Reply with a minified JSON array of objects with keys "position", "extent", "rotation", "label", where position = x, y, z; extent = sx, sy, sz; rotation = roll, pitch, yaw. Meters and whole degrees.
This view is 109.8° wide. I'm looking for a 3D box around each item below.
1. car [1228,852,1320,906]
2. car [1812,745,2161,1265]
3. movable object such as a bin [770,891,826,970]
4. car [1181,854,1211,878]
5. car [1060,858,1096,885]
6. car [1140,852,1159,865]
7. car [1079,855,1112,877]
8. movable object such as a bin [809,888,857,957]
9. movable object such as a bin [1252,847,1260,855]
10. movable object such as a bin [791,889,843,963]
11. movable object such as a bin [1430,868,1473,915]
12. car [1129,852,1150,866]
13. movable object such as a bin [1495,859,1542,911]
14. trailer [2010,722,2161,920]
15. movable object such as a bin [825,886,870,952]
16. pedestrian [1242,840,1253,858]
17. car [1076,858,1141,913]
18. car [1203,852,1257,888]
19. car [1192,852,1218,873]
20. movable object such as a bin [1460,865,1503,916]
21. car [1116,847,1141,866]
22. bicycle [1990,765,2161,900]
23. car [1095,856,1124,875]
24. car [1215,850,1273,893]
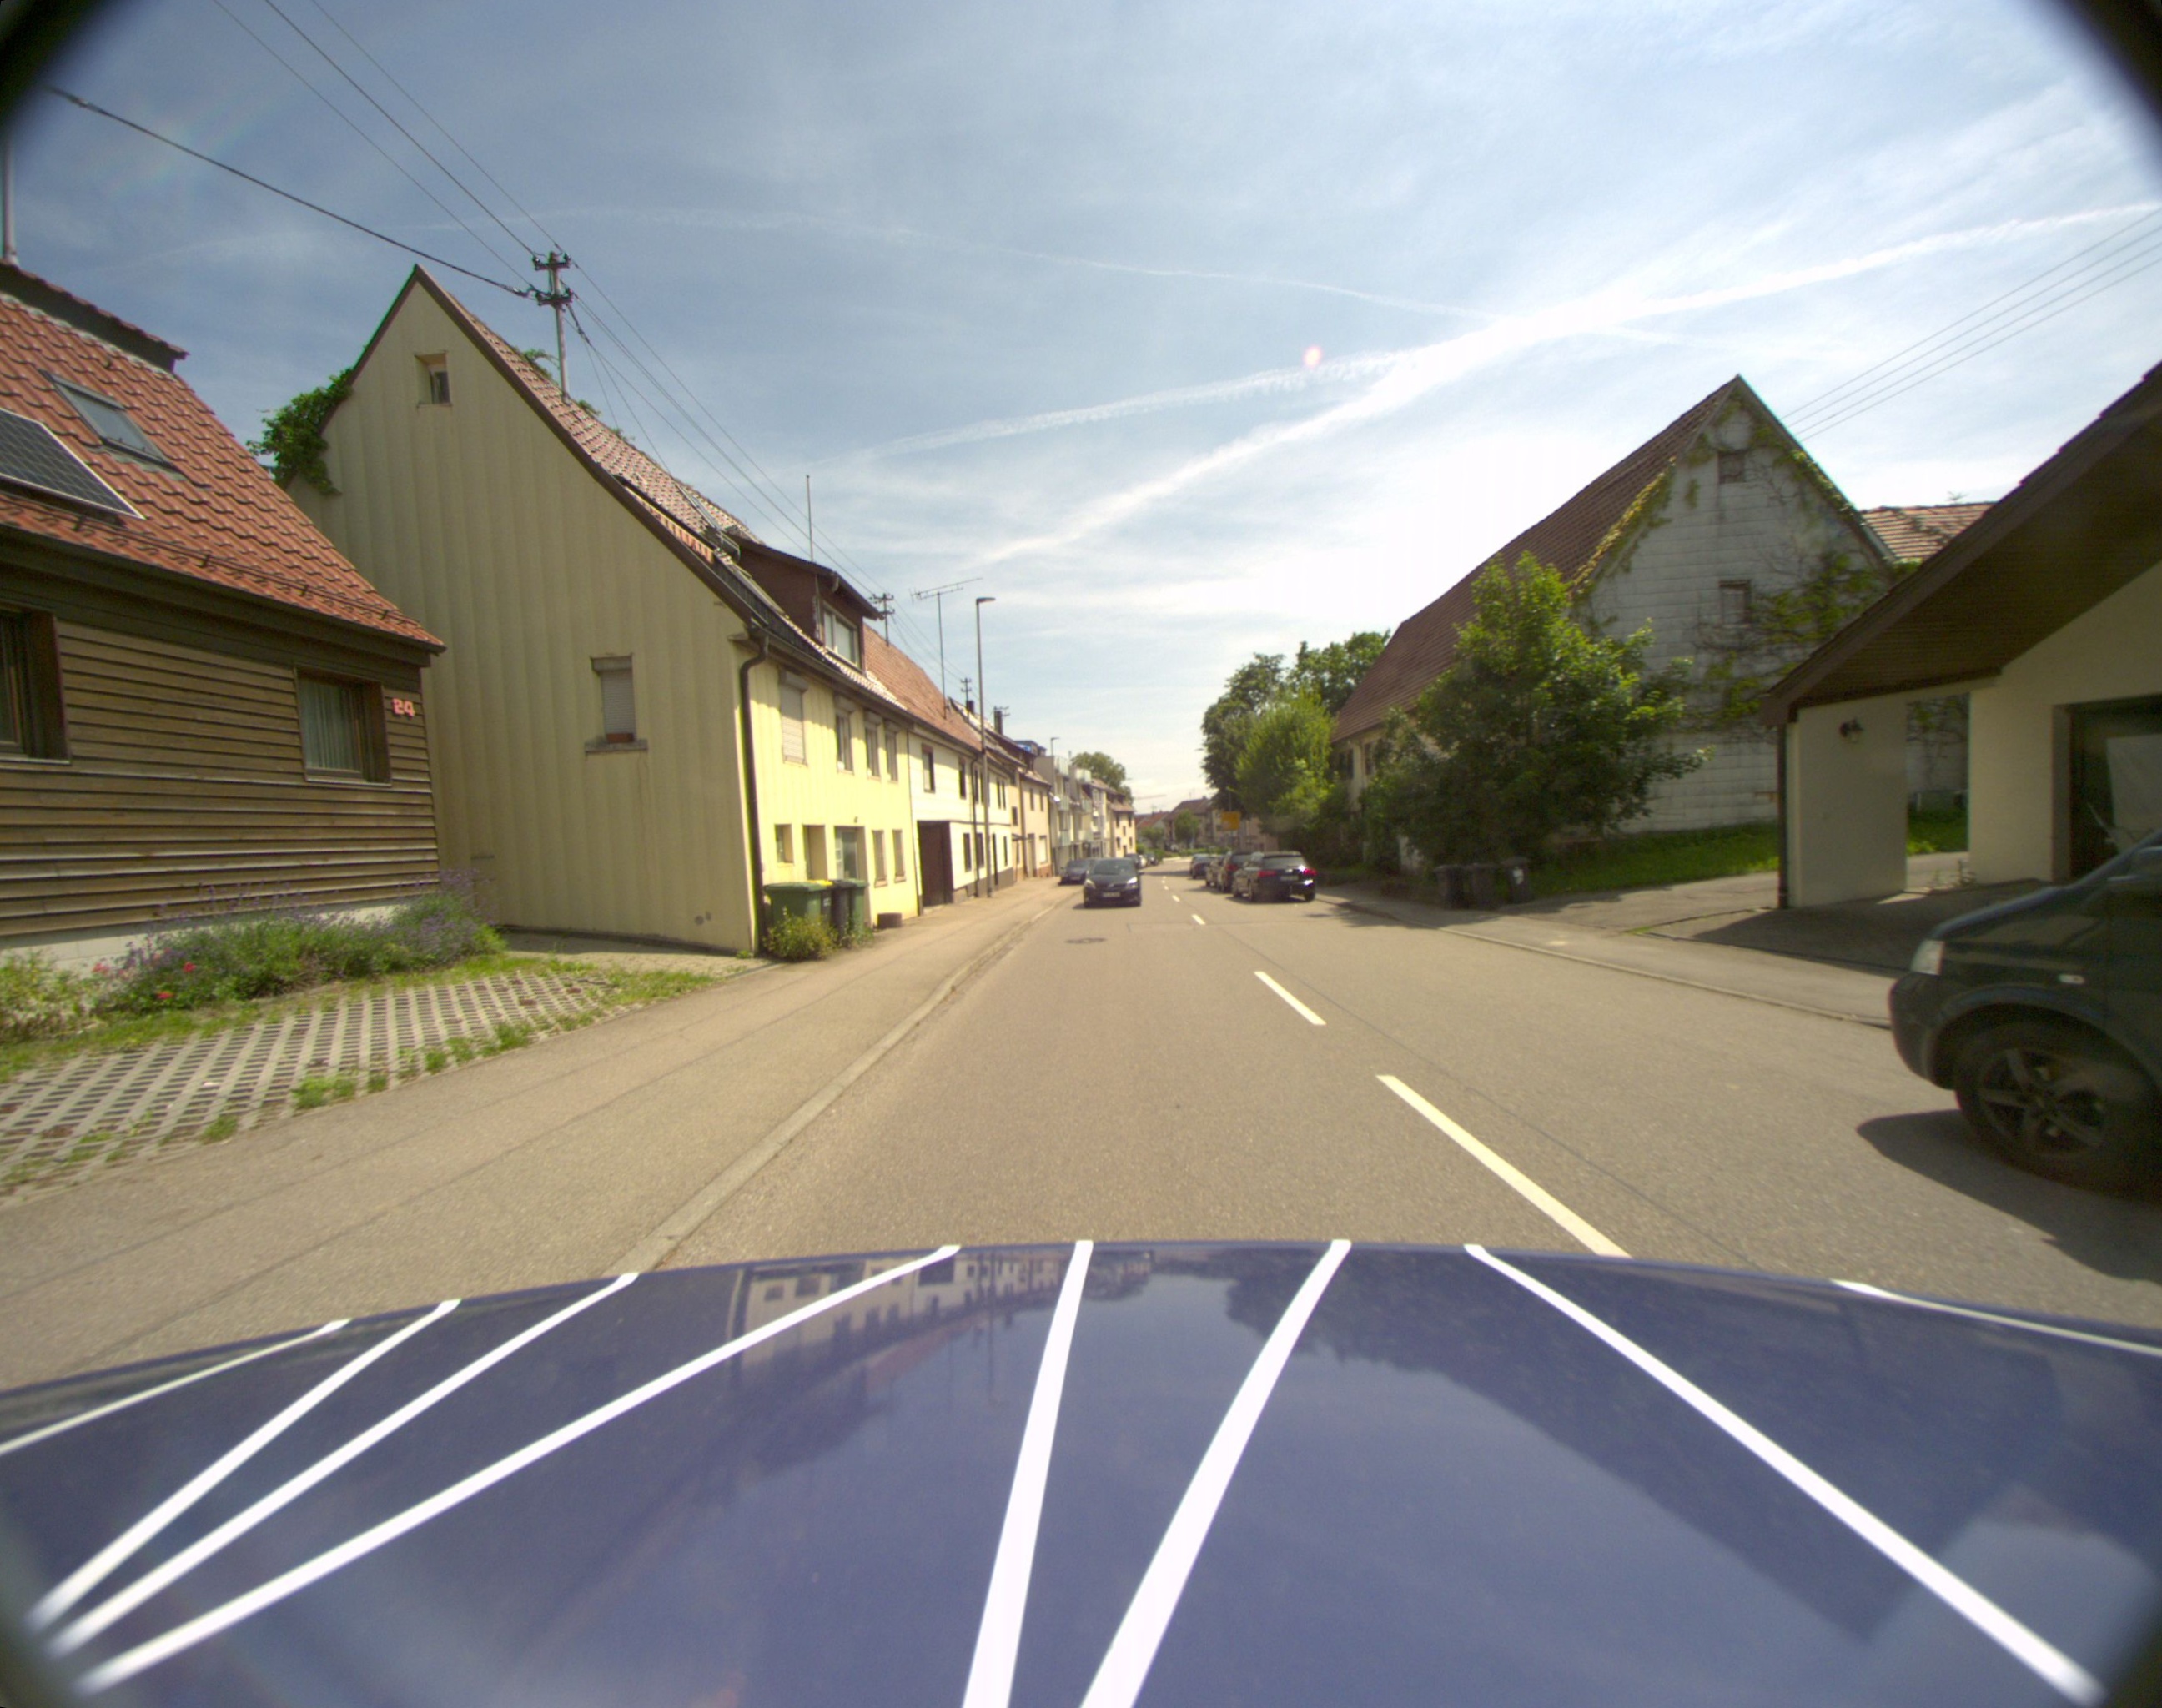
[{"position":[5.835,0.697,23.549],"extent":[1.823,1.465,4.776],"rotation":[-2,0,3],"label":"car"},{"position":[4.961,0.569,1.650],"extent":[1.896,1.926,4.985],"rotation":[0,1,-1],"label":"car"},{"position":[-3.893,1.037,10.479],"extent":[0.548,1.027,0.551],"rotation":[0,0,3],"label":"movable object such as a bin"},{"position":[7.338,0.737,48.507],"extent":[1.808,1.415,4.931],"rotation":[-1,0,8],"label":"car"},{"position":[-0.122,0.930,42.338],"extent":[1.669,1.345,4.188],"rotation":[-2,0,4],"label":"car"},{"position":[8.306,0.483,91.673],"extent":[1.791,1.412,4.362],"rotation":[-2,0,12],"label":"car"},{"position":[1.037,0.793,52.338],"extent":[1.797,1.394,4.414],"rotation":[-1,0,7],"label":"car"},{"position":[-3.849,1.054,11.809],"extent":[0.548,1.027,0.551],"rotation":[0,0,3],"label":"movable object such as a bin"},{"position":[21.115,-0.371,91.704],"extent":[0.801,0.994,0.805],"rotation":[-4,1,14],"label":"movable object such as a bin"},{"position":[-3.885,1.050,11.196],"extent":[0.548,1.027,0.551],"rotation":[0,0,3],"label":"movable object such as a bin"},{"position":[7.736,0.777,15.886],"extent":[0.502,0.897,0.585],"rotation":[-6,0,-2],"label":"movable object such as a bin"},{"position":[6.608,0.539,85.332],"extent":[1.792,1.447,4.719],"rotation":[-2,0,10],"label":"car"},{"position":[8.805,0.616,15.317],"extent":[0.502,0.943,0.524],"rotation":[-10,1,-2],"label":"movable object such as a bin"},{"position":[13.128,-0.583,8.124],"extent":[3.841,2.002,1.999],"rotation":[-9,1,-2],"label":"trailer"},{"position":[-3.812,1.048,12.441],"extent":[0.548,1.027,0.551],"rotation":[0,0,3],"label":"movable object such as a bin"},{"position":[15.394,-0.481,70.293],"extent":[0.732,1.607,0.629],"rotation":[-4,1,-8],"label":"pedestrian"},{"position":[0.935,0.884,23.326],"extent":[1.724,1.448,4.431],"rotation":[-2,0,5],"label":"car"},{"position":[6.725,0.671,34.749],"extent":[1.792,1.455,4.713],"rotation":[-2,0,4],"label":"car"},{"position":[9.832,0.653,59.943],"extent":[1.775,1.518,4.225],"rotation":[0,1,12],"label":"car"},{"position":[8.043,0.734,15.275],"extent":[0.474,0.933,0.527],"rotation":[-9,1,-1],"label":"movable object such as a bin"},{"position":[4.706,0.221,75.208],"extent":[1.957,1.706,4.719],"rotation":[-2,0,10],"label":"car"},{"position":[13.352,-0.338,9.596],"extent":[2.755,1.373,0.761],"rotation":[-9,1,-1],"label":"bicycle"},{"position":[2.462,0.957,64.443],"extent":[1.800,1.416,4.293],"rotation":[-1,1,10],"label":"car"},{"position":[6.215,0.634,29.335],"extent":[1.758,1.512,4.303],"rotation":[-2,0,7],"label":"car"}]
